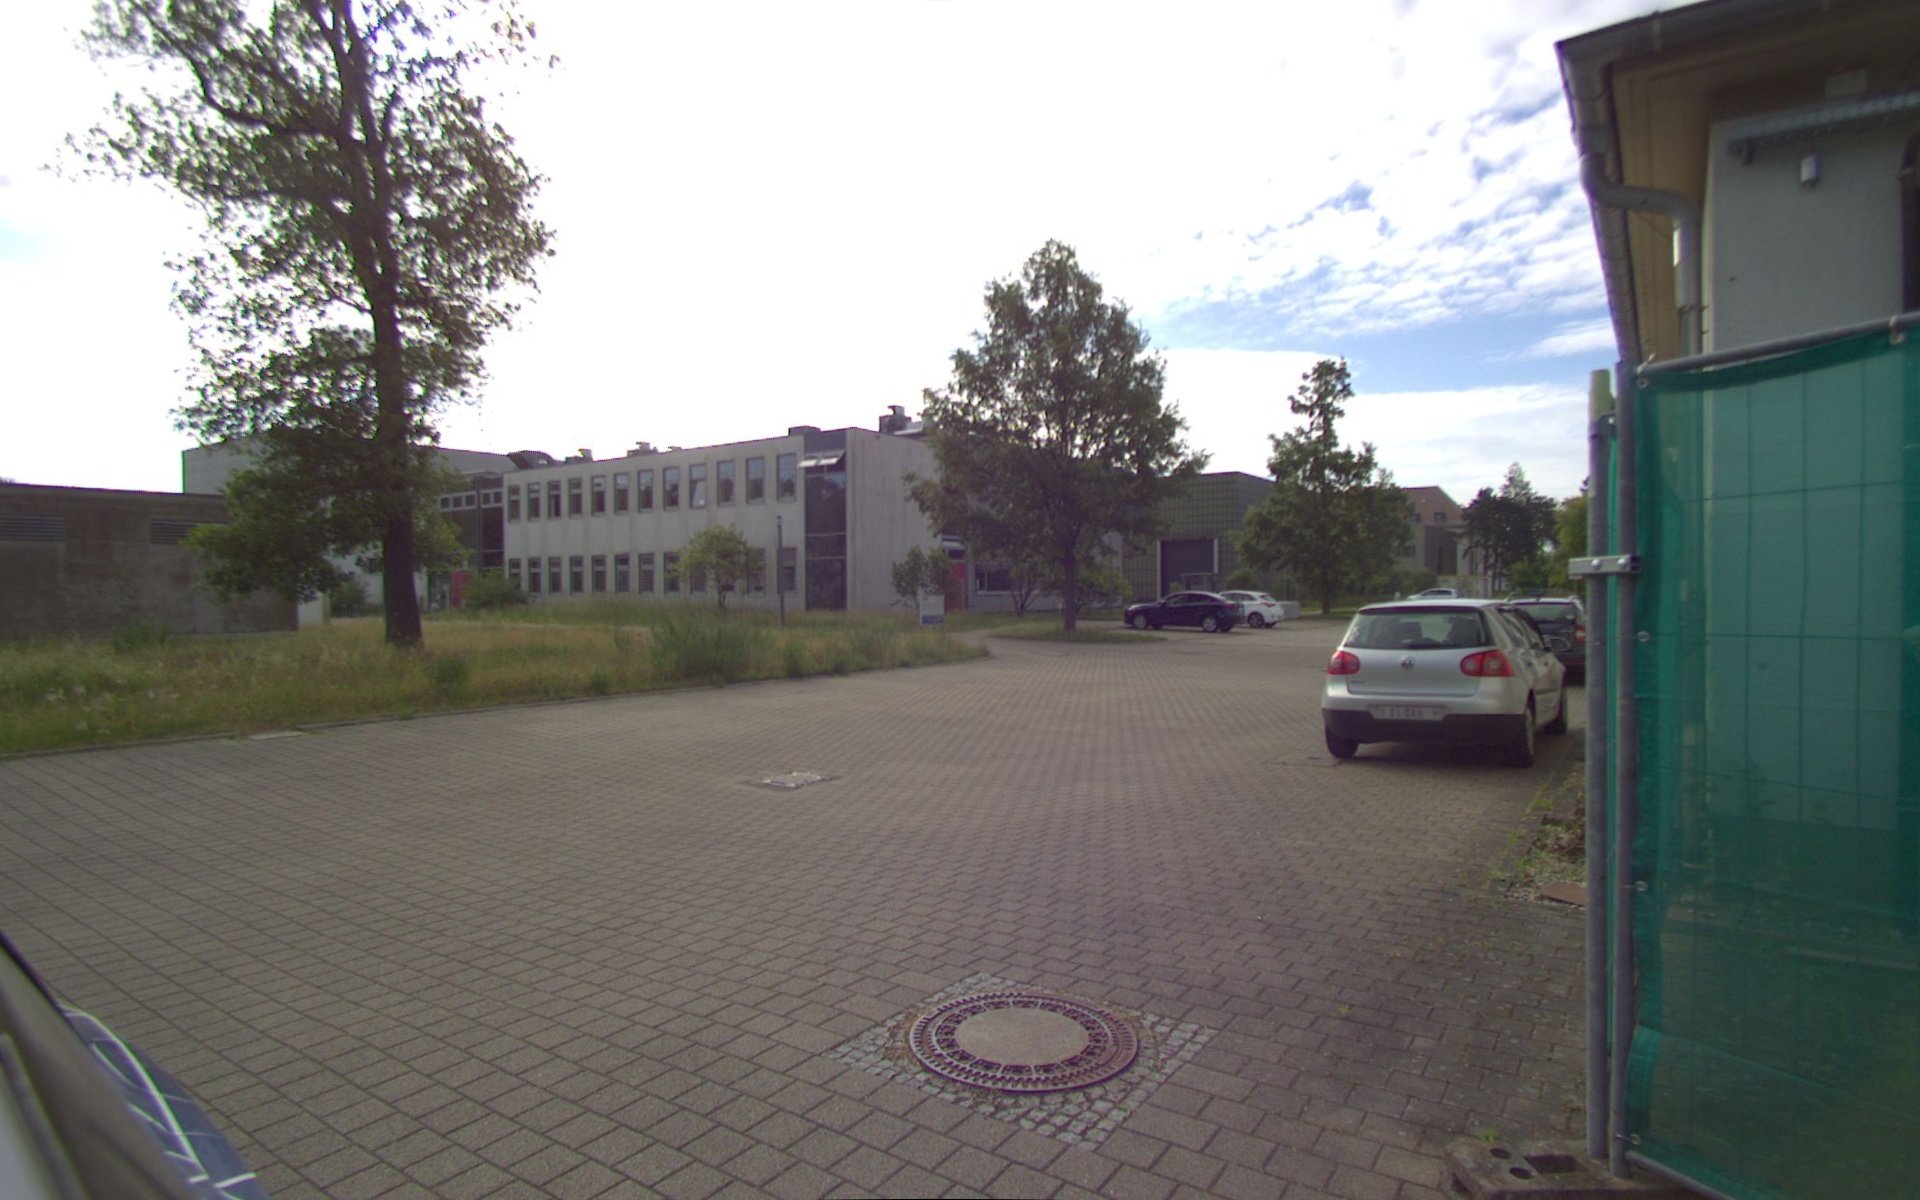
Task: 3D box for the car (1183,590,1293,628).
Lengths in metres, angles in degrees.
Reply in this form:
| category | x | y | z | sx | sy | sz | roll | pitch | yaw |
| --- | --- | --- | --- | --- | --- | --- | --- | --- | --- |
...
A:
| category | x | y | z | sx | sy | sz | roll | pitch | yaw |
| --- | --- | --- | --- | --- | --- | --- | --- | --- | --- |
| car | 11.370 | 0.344 | 41.527 | 3.980 | 1.477 | 1.860 | 1 | 1 | 36 |

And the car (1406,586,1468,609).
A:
| category | x | y | z | sx | sy | sz | roll | pitch | yaw |
| --- | --- | --- | --- | --- | --- | --- | --- | --- | --- |
| car | 37.293 | -0.198 | 79.113 | 4.123 | 1.636 | 1.917 | 2 | 2 | 33 |

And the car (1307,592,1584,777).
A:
| category | x | y | z | sx | sy | sz | roll | pitch | yaw |
| --- | --- | --- | --- | --- | --- | --- | --- | --- | --- |
| car | 5.117 | 0.672 | 10.308 | 1.926 | 1.450 | 4.318 | -2 | 0 | 34 |

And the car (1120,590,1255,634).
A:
| category | x | y | z | sx | sy | sz | roll | pitch | yaw |
| --- | --- | --- | --- | --- | --- | --- | --- | --- | --- |
| car | 8.371 | 0.386 | 37.315 | 4.469 | 1.458 | 1.921 | 2 | 1 | 36 |

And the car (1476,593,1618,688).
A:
| category | x | y | z | sx | sy | sz | roll | pitch | yaw |
| --- | --- | --- | --- | --- | --- | --- | --- | --- | --- |
| car | 10.691 | 0.610 | 18.253 | 1.926 | 1.472 | 4.755 | 0 | 1 | 34 |
